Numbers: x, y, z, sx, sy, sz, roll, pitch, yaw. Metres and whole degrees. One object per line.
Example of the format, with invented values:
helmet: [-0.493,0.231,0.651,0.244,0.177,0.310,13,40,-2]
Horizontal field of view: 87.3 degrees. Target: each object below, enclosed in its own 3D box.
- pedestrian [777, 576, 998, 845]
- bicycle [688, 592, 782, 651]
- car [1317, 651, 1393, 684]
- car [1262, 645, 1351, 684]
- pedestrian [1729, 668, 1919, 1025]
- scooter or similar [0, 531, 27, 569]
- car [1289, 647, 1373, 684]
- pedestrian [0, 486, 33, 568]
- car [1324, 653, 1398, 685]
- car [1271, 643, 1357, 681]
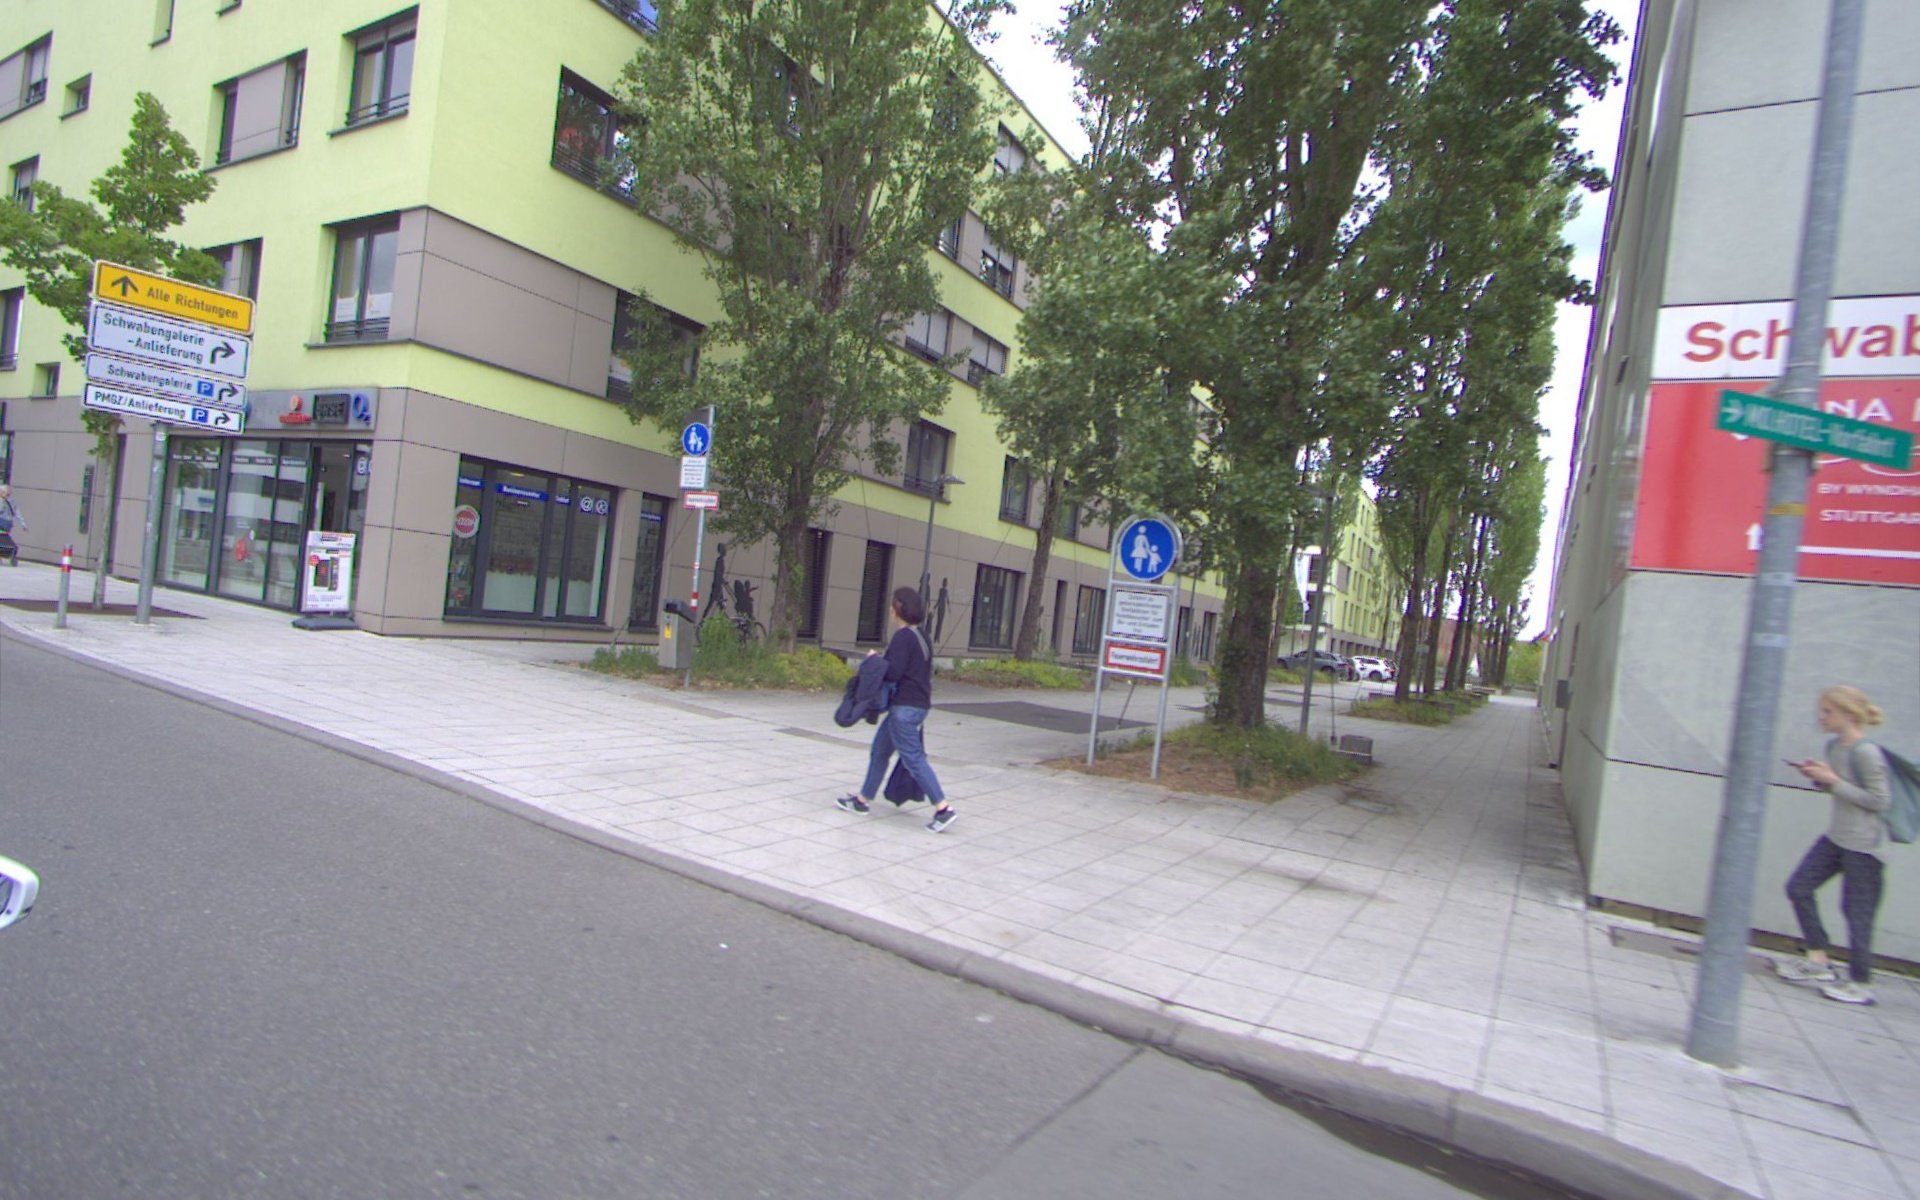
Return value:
pedestrian: [-0.485,0.712,6.920,0.999,1.603,0.948,7,1,31]
bicycle: [-4.474,0.446,20.133,0.533,1.012,1.879,7,-1,36]
car: [28.439,4.878,72.500,4.711,1.674,1.740,7,-2,32]
car: [20.874,3.873,60.688,4.711,1.674,1.740,7,-2,32]
pedestrian: [4.618,1.201,5.183,0.791,1.603,0.869,7,1,31]
scooter or similar: [-19.043,-1.004,19.925,0.810,0.681,0.592,7,2,31]
car: [24.006,4.224,65.156,4.711,1.674,1.740,7,-2,32]
pedestrian: [-19.474,-1.509,20.467,0.593,1.614,0.696,7,2,31]
car: [29.536,5.097,74.075,4.711,1.674,1.740,7,-2,32]
car: [22.079,3.878,62.806,4.711,1.674,1.740,7,-2,32]
